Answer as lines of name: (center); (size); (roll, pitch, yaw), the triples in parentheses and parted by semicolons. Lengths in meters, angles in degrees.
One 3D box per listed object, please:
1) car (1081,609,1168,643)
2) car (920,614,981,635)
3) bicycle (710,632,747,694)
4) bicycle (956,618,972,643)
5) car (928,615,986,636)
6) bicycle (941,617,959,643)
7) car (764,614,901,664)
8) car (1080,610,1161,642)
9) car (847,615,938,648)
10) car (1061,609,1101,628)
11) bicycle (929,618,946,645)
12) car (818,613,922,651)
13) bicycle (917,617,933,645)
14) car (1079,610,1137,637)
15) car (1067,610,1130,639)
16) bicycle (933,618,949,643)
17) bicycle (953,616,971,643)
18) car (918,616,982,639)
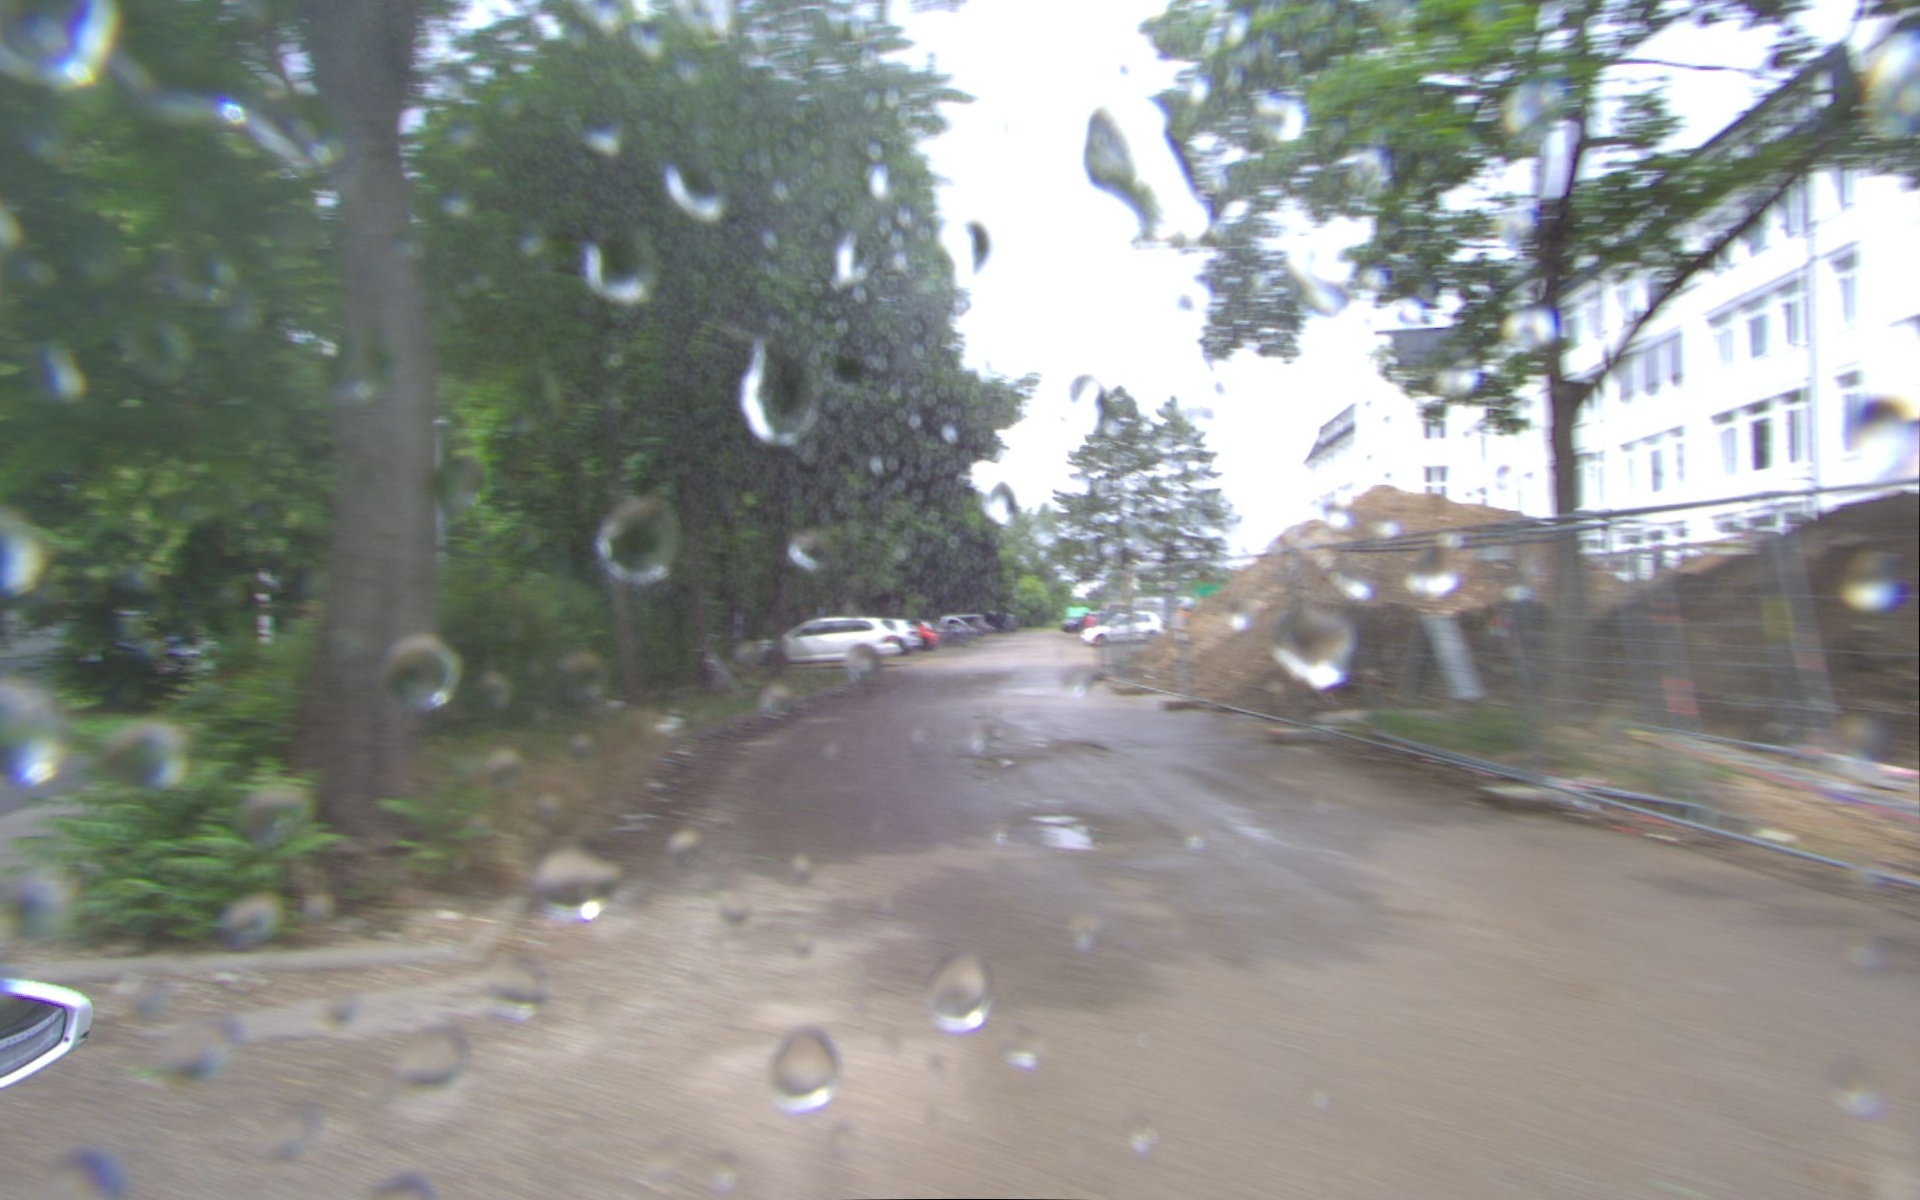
car: (7.273, 1.165, 44.519); (3.660, 1.394, 1.840); (-2, -2, 6)
car: (-0.638, 1.709, 68.766); (3.969, 1.427, 1.983); (0, -2, 5)
bicycle: (-3.643, 0.962, 15.688); (0.460, 0.891, 1.567); (0, 0, -17)
bicycle: (0.206, 1.655, 54.041); (0.586, 1.324, 2.670); (0, -2, -6)
car: (-0.190, 1.814, 71.518); (3.969, 1.427, 1.983); (0, -2, 5)
bicycle: (-0.511, 1.500, 49.760); (0.586, 1.283, 2.670); (0, -2, -6)
car: (-3.779, 1.169, 30.156); (3.969, 1.427, 1.982); (0, -2, -5)
car: (7.498, 1.228, 47.071); (3.660, 1.394, 1.840); (-2, -2, 6)
car: (-3.037, 1.429, 44.923); (3.969, 1.427, 1.982); (0, -2, -5)
car: (11.268, 1.744, 93.294); (3.660, 1.620, 1.840); (-2, -2, 6)
bicycle: (-1.118, 1.568, 49.682); (0.586, 1.324, 2.670); (0, -2, -6)
car: (-3.504, 1.248, 39.216); (3.969, 1.427, 1.982); (0, -2, -5)
bicycle: (-1.745, 1.544, 49.631); (0.586, 1.324, 2.670); (0, -2, -6)
car: (9.585, 1.547, 65.043); (3.660, 1.620, 1.840); (-2, -2, 6)
car: (8.297, 1.516, 60.355); (3.660, 1.620, 1.840); (-2, -2, 6)
bicycle: (-1.031, 1.655, 53.928); (0.586, 1.324, 2.670); (0, -2, -6)
bicycle: (0.072, 1.483, 49.844); (0.586, 1.324, 2.670); (0, -2, -6)
car: (-0.620, 1.802, 64.393); (3.969, 1.427, 1.983); (0, -2, 5)
